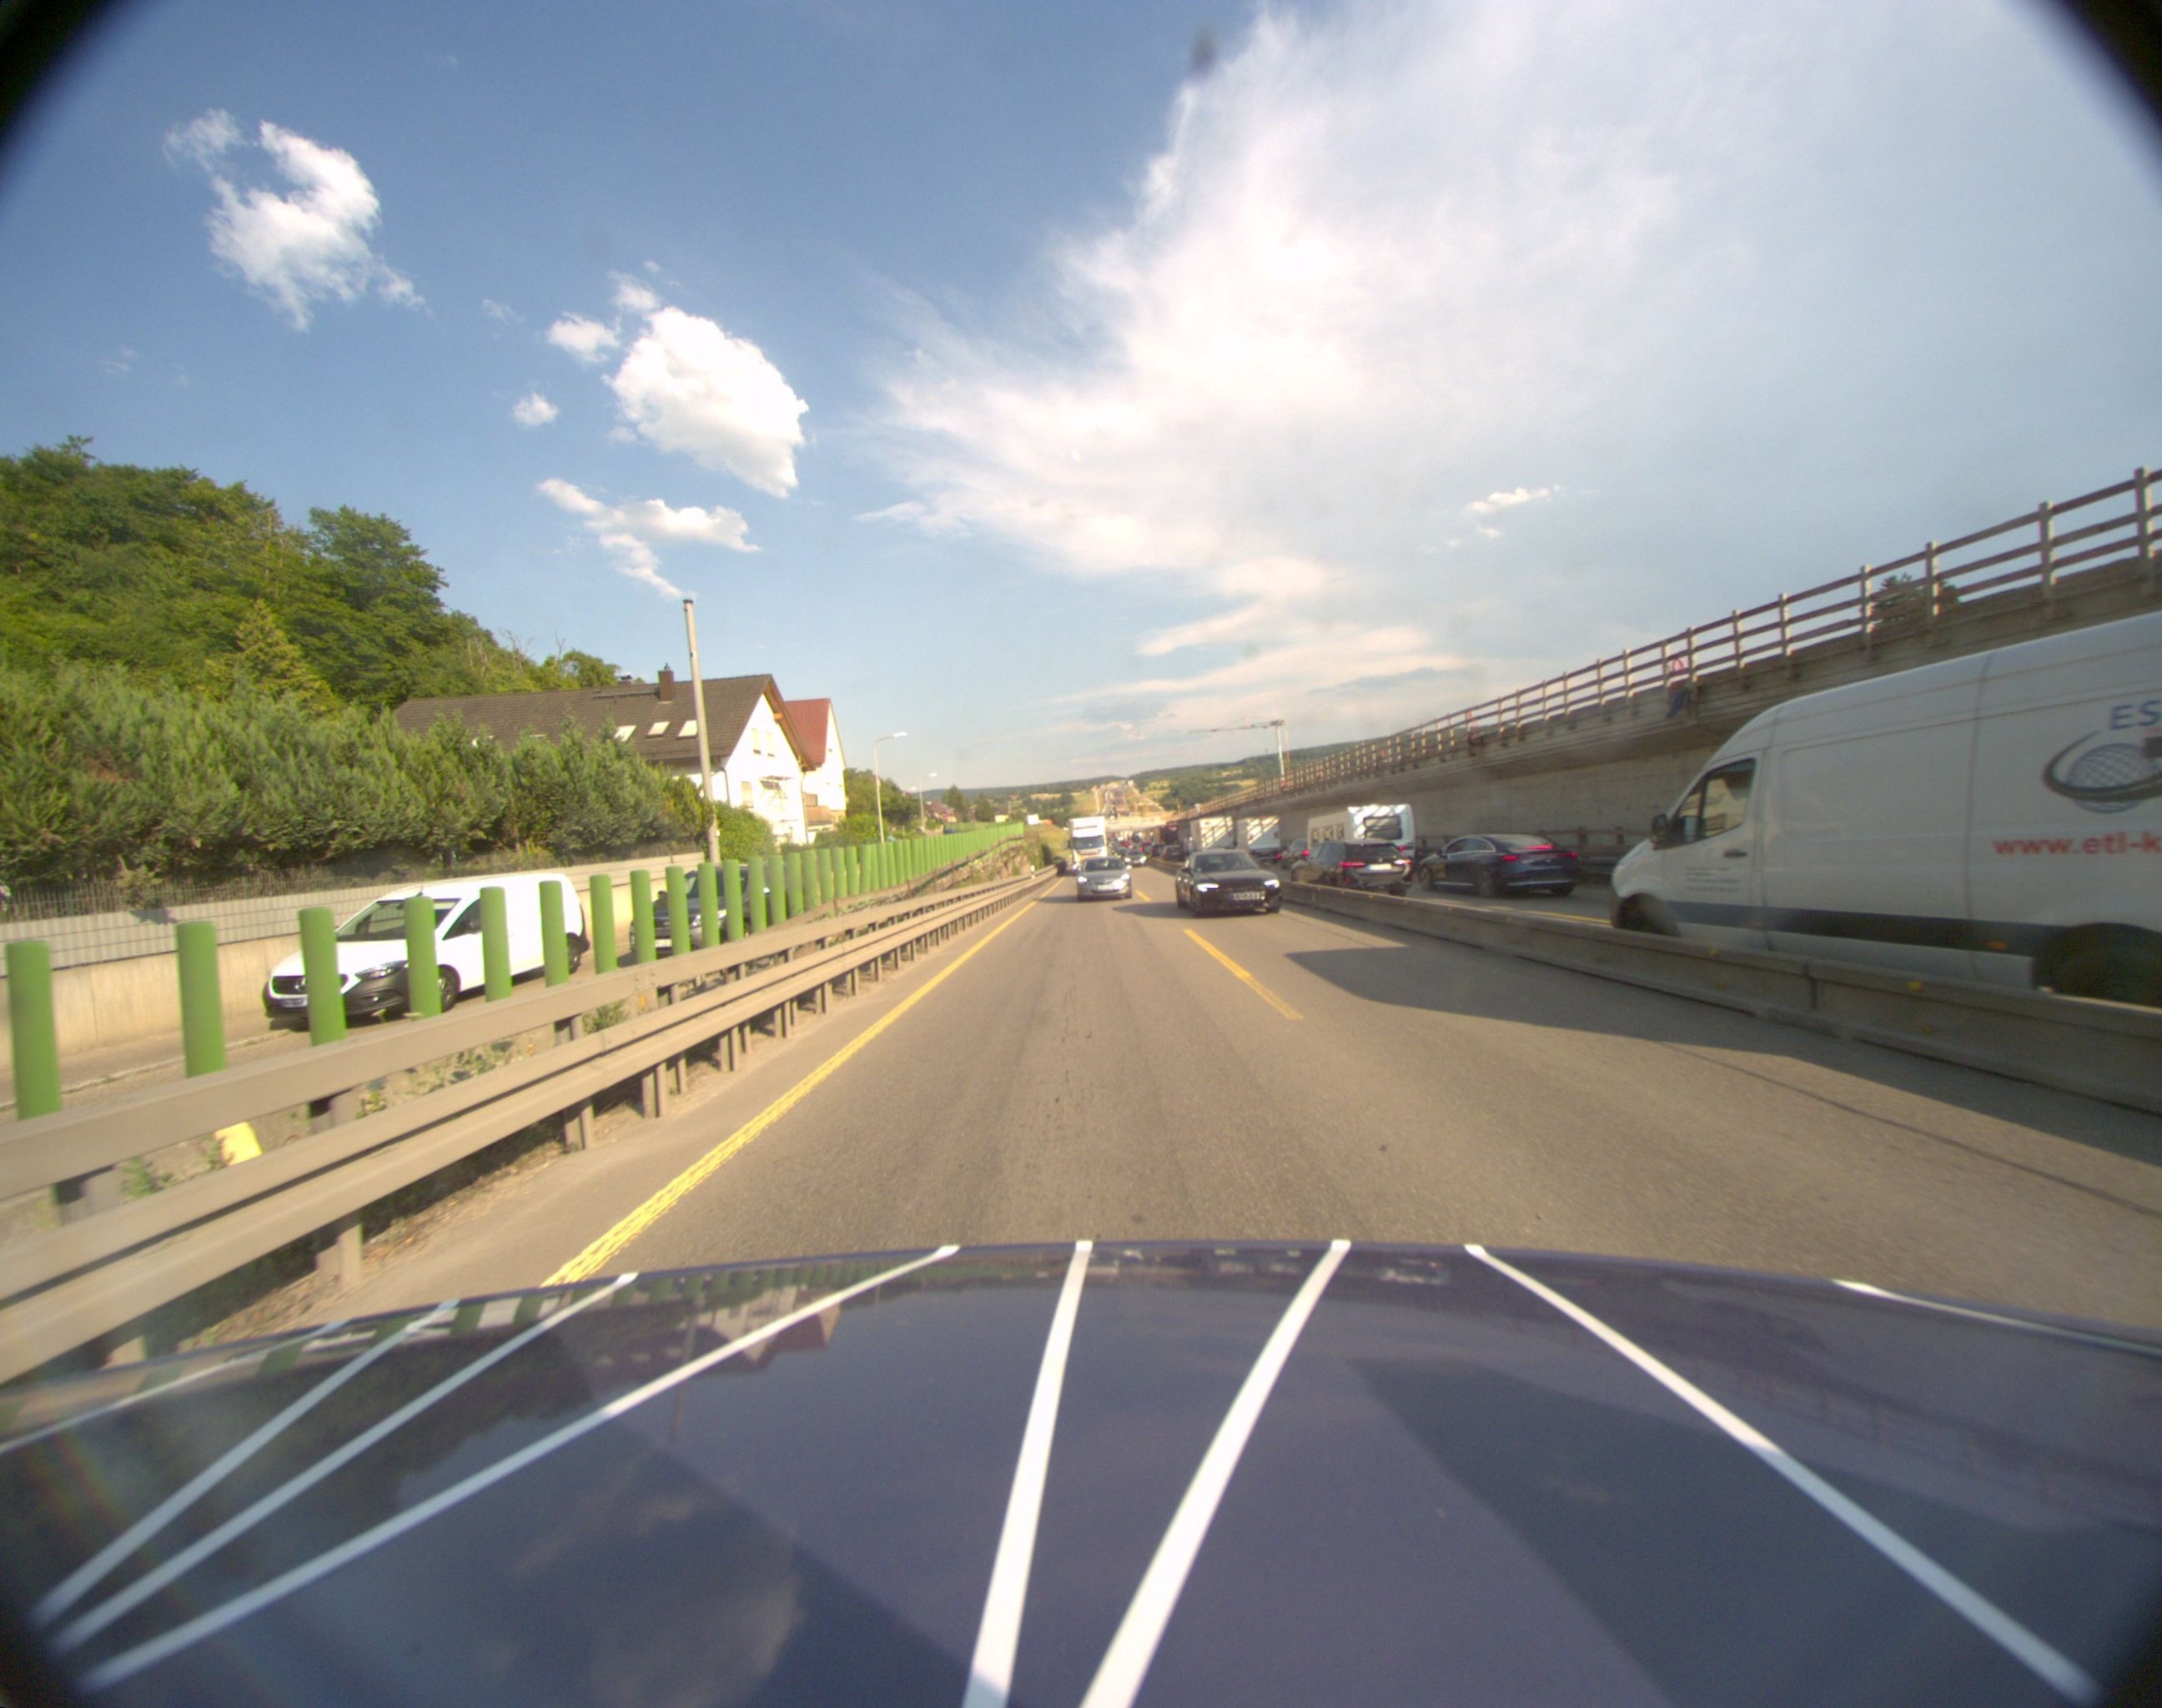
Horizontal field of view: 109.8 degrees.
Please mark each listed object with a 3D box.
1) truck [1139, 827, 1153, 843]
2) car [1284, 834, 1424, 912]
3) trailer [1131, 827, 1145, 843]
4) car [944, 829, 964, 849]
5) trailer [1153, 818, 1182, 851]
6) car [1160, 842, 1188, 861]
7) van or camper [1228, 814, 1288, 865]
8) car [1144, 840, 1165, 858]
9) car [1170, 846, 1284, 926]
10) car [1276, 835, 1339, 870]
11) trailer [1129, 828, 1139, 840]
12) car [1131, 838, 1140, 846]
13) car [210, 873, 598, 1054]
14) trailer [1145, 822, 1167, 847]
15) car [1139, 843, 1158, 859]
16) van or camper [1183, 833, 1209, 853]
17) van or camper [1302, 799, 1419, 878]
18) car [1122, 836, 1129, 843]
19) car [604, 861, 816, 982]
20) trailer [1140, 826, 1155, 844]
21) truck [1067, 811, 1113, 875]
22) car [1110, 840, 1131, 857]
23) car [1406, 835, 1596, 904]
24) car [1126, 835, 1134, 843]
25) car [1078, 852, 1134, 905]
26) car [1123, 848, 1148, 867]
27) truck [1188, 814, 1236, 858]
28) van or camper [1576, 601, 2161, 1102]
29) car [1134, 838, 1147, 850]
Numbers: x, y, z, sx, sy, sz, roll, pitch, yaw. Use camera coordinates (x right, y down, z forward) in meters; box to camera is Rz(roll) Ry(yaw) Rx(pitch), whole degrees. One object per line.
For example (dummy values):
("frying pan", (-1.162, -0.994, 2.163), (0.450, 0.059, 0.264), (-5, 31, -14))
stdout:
("truck", (14.633, -4.349, 171.159), (2.555, 3.390, 5.530), (-6, 2, 2))
("car", (6.940, 0.378, 19.941), (1.842, 1.584, 4.867), (-6, 2, 0))
("trailer", (15.744, -5.422, 211.051), (2.778, 4.008, 15.760), (-6, 2, 2))
("car", (-14.342, -1.631, 85.659), (1.712, 2.002, 3.994), (-5, 1, -16))
("trailer", (12.572, -2.934, 111.059), (2.920, 4.216, 13.766), (-6, 2, 3))
("car", (7.985, -0.224, 65.570), (1.768, 1.442, 4.458), (-6, 0, 1))
("van or camper", (11.337, -0.966, 49.234), (2.325, 2.972, 6.221), (-4, 2, 1))
("car", (8.019, -0.555, 83.556), (1.836, 1.636, 4.688), (-6, 2, 2))
("car", (3.283, 0.644, 17.911), (1.872, 1.411, 4.348), (-5, 2, 2))
("car", (10.886, -0.108, 36.839), (1.645, 1.522, 4.783), (-4, 1, 2))
("trailer", (18.303, -7.067, 262.446), (2.659, 3.829, 13.440), (-6, 2, 2))
("car", (11.685, -2.559, 162.322), (1.645, 1.451, 4.595), (-6, 2, 2))
("car", (-9.939, 1.445, 11.800), (1.811, 1.860, 4.438), (-4, 2, 1))
("trailer", (13.624, -3.440, 139.403), (2.771, 4.117, 14.025), (-6, 0, 2))
("car", (9.134, -0.396, 103.527), (1.990, 1.911, 5.290), (-6, 1, 2))
("van or camper", (12.297, -1.172, 81.551), (1.922, 1.911, 4.922), (-6, 1, 2))
("van or camper", (10.880, -0.600, 30.214), (2.317, 2.647, 6.454), (-3, 1, 2))
("car", (11.878, -3.859, 202.550), (1.729, 1.548, 4.297), (-6, 1, 2))
("car", (-7.017, 1.160, 14.974), (1.887, 1.801, 4.246), (-6, 1, 0))
("trailer", (14.348, -4.209, 164.784), (2.563, 3.507, 10.679), (-6, 2, 2))
("truck", (0.862, -0.956, 57.519), (2.741, 4.034, 12.668), (-6, 2, 3))
("car", (4.362, -0.656, 84.847), (1.998, 1.740, 3.999), (-5, 1, 1))
("car", (10.087, 0.296, 18.808), (1.977, 1.413, 4.899), (-2, 1, 0))
("car", (11.617, -3.524, 180.831), (1.645, 1.636, 4.688), (-6, 2, 2))
("car", (0.853, 0.775, 25.674), (1.671, 1.425, 3.523), (-5, 2, 2))
("car", (4.462, 0.239, 62.585), (1.692, 1.294, 3.882), (-6, 2, 0))
("truck", (11.122, -1.588, 65.317), (2.721, 3.405, 8.139), (-3, 2, 1))
("van or camper", (6.806, -0.060, 5.924), (1.998, 2.691, 5.956), (-2, 1, 0))
("car", (10.503, -1.783, 133.400), (1.826, 1.762, 5.139), (-6, 2, 1))
